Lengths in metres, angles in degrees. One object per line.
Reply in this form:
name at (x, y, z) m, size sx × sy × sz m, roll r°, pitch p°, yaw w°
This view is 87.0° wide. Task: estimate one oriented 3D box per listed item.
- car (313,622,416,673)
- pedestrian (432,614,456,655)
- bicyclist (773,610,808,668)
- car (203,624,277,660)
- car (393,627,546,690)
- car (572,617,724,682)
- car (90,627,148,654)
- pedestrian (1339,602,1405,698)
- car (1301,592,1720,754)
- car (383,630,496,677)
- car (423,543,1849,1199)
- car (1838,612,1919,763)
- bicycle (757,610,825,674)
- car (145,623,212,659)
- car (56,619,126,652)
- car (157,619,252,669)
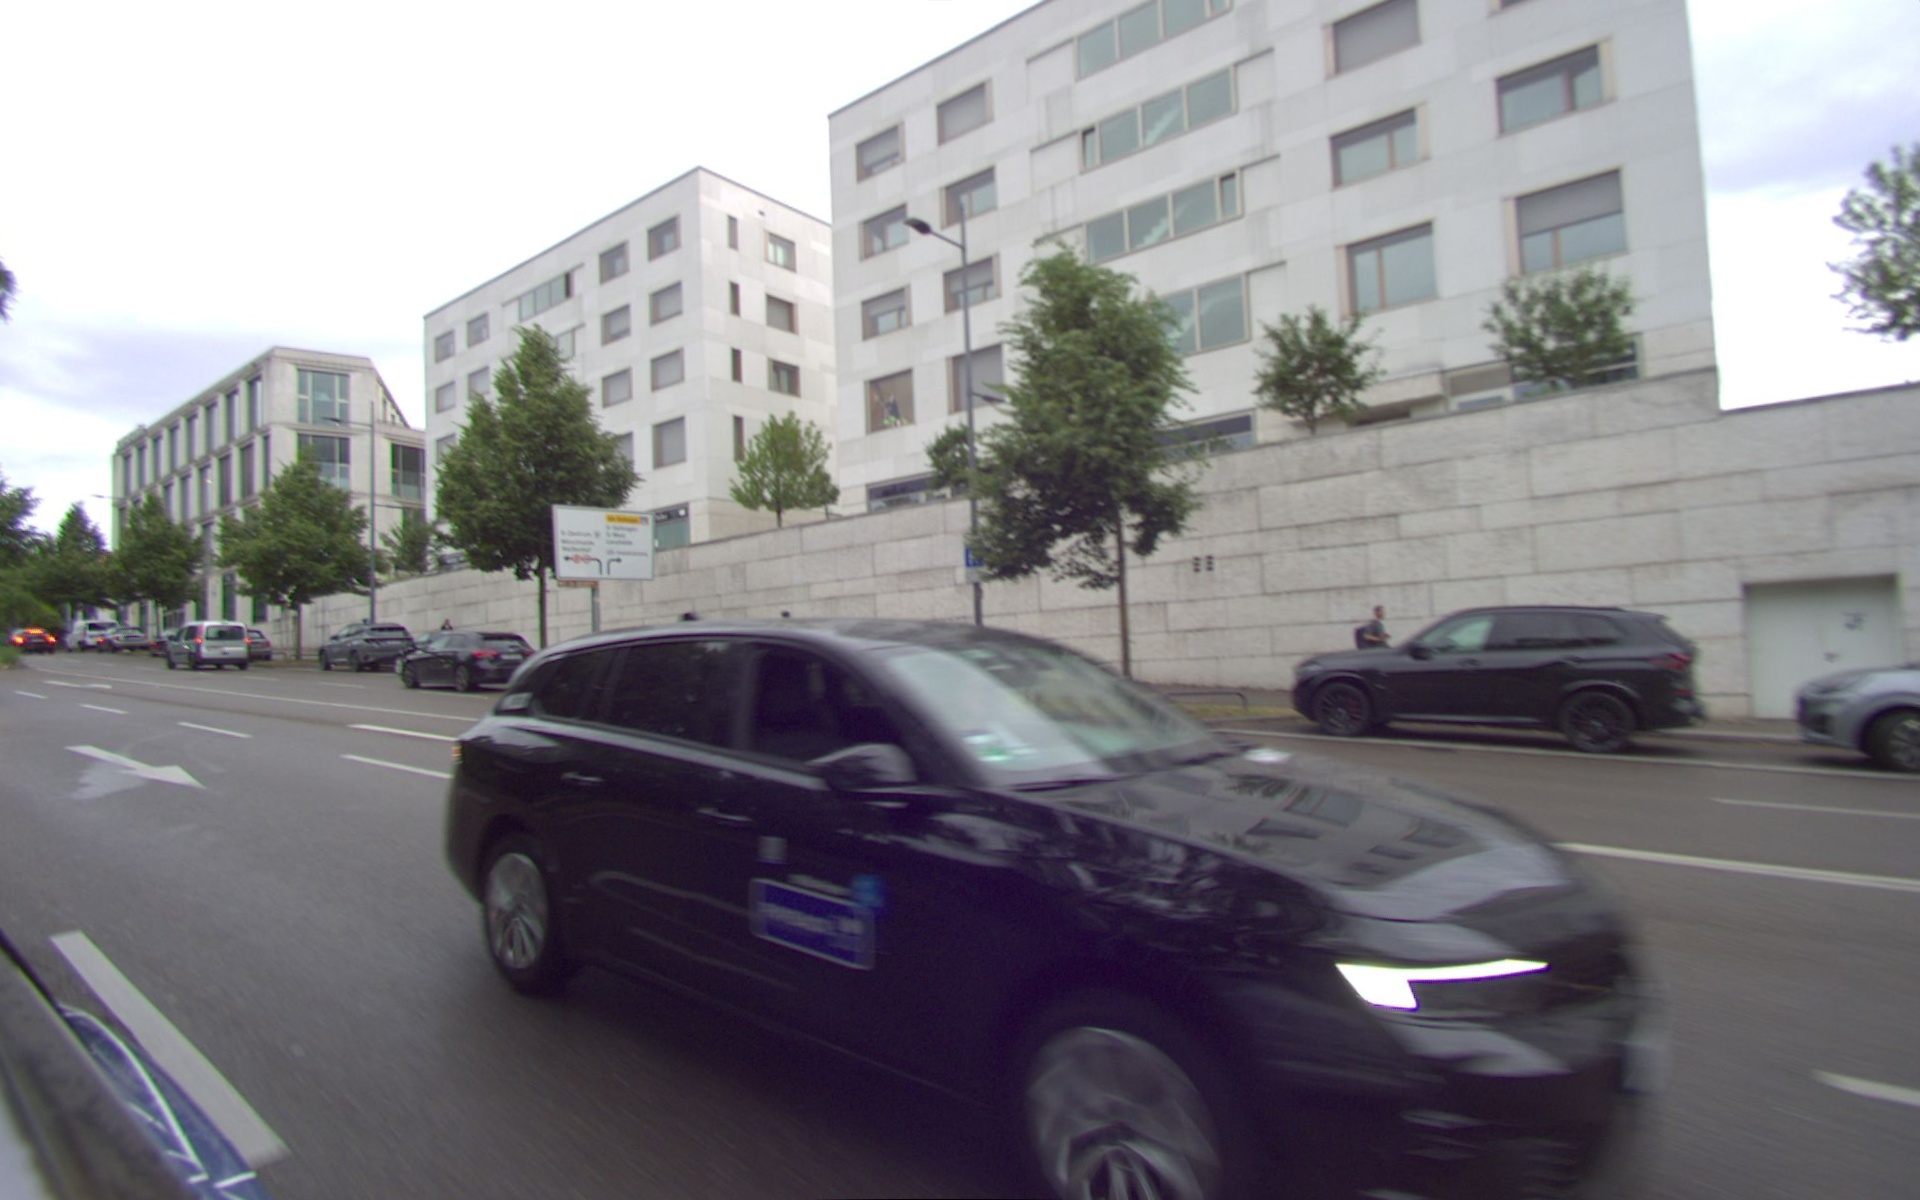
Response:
car at (-20.911, 1.606, 35.476) m, size 4.357 × 1.632 × 1.686 m, roll -1°, pitch -1°, yaw 39°
pedestrian at (-22.849, 1.524, 44.808) m, size 0.690 × 1.788 × 0.711 m, roll -2°, pitch -2°, yaw 37°
bicyclist at (-4.552, 1.040, 27.203) m, size 0.768 × 1.529 × 0.571 m, roll -1°, pitch -2°, yaw 39°
car at (-31.488, 1.835, 44.228) m, size 3.856 × 1.455 × 1.678 m, roll -2°, pitch 0°, yaw 40°
car at (-12.088, 1.376, 24.856) m, size 4.185 × 1.391 × 1.753 m, roll -1°, pitch -2°, yaw 38°
car at (-7.706, 1.162, 24.842) m, size 3.961 × 1.437 × 1.662 m, roll -1°, pitch 0°, yaw 39°
car at (-46.221, 2.207, 55.615) m, size 3.692 × 1.395 × 1.679 m, roll -2°, pitch 0°, yaw 37°
pedestrian at (7.983, 0.953, 19.598) m, size 1.020 × 1.788 × 0.701 m, roll -1°, pitch -2°, yaw 38°
car at (7.095, 0.867, 13.338) m, size 4.588 × 1.794 × 1.840 m, roll -1°, pitch -2°, yaw 37°
car at (-16.523, 1.647, 32.068) m, size 4.158 × 1.370 × 1.678 m, roll -2°, pitch -1°, yaw 39°
car at (0.031, 0.706, 3.518) m, size 4.516 × 1.441 × 1.781 m, roll -2°, pitch -2°, yaw 40°
car at (11.259, 0.878, 10.059) m, size 3.705 × 1.526 × 1.663 m, roll -1°, pitch -2°, yaw 38°
bicycle at (-4.565, 1.114, 27.230) m, size 1.878 × 1.670 × 0.735 m, roll -1°, pitch -3°, yaw 39°
car at (-37.816, 1.963, 48.958) m, size 4.012 × 1.593 × 1.678 m, roll -1°, pitch 0°, yaw 39°
car at (-51.872, 2.133, 60.385) m, size 5.251 × 1.829 × 2.102 m, roll -2°, pitch -2°, yaw 37°
car at (-28.197, 1.624, 37.720) m, size 4.331 × 1.760 × 1.694 m, roll -1°, pitch -3°, yaw 37°
